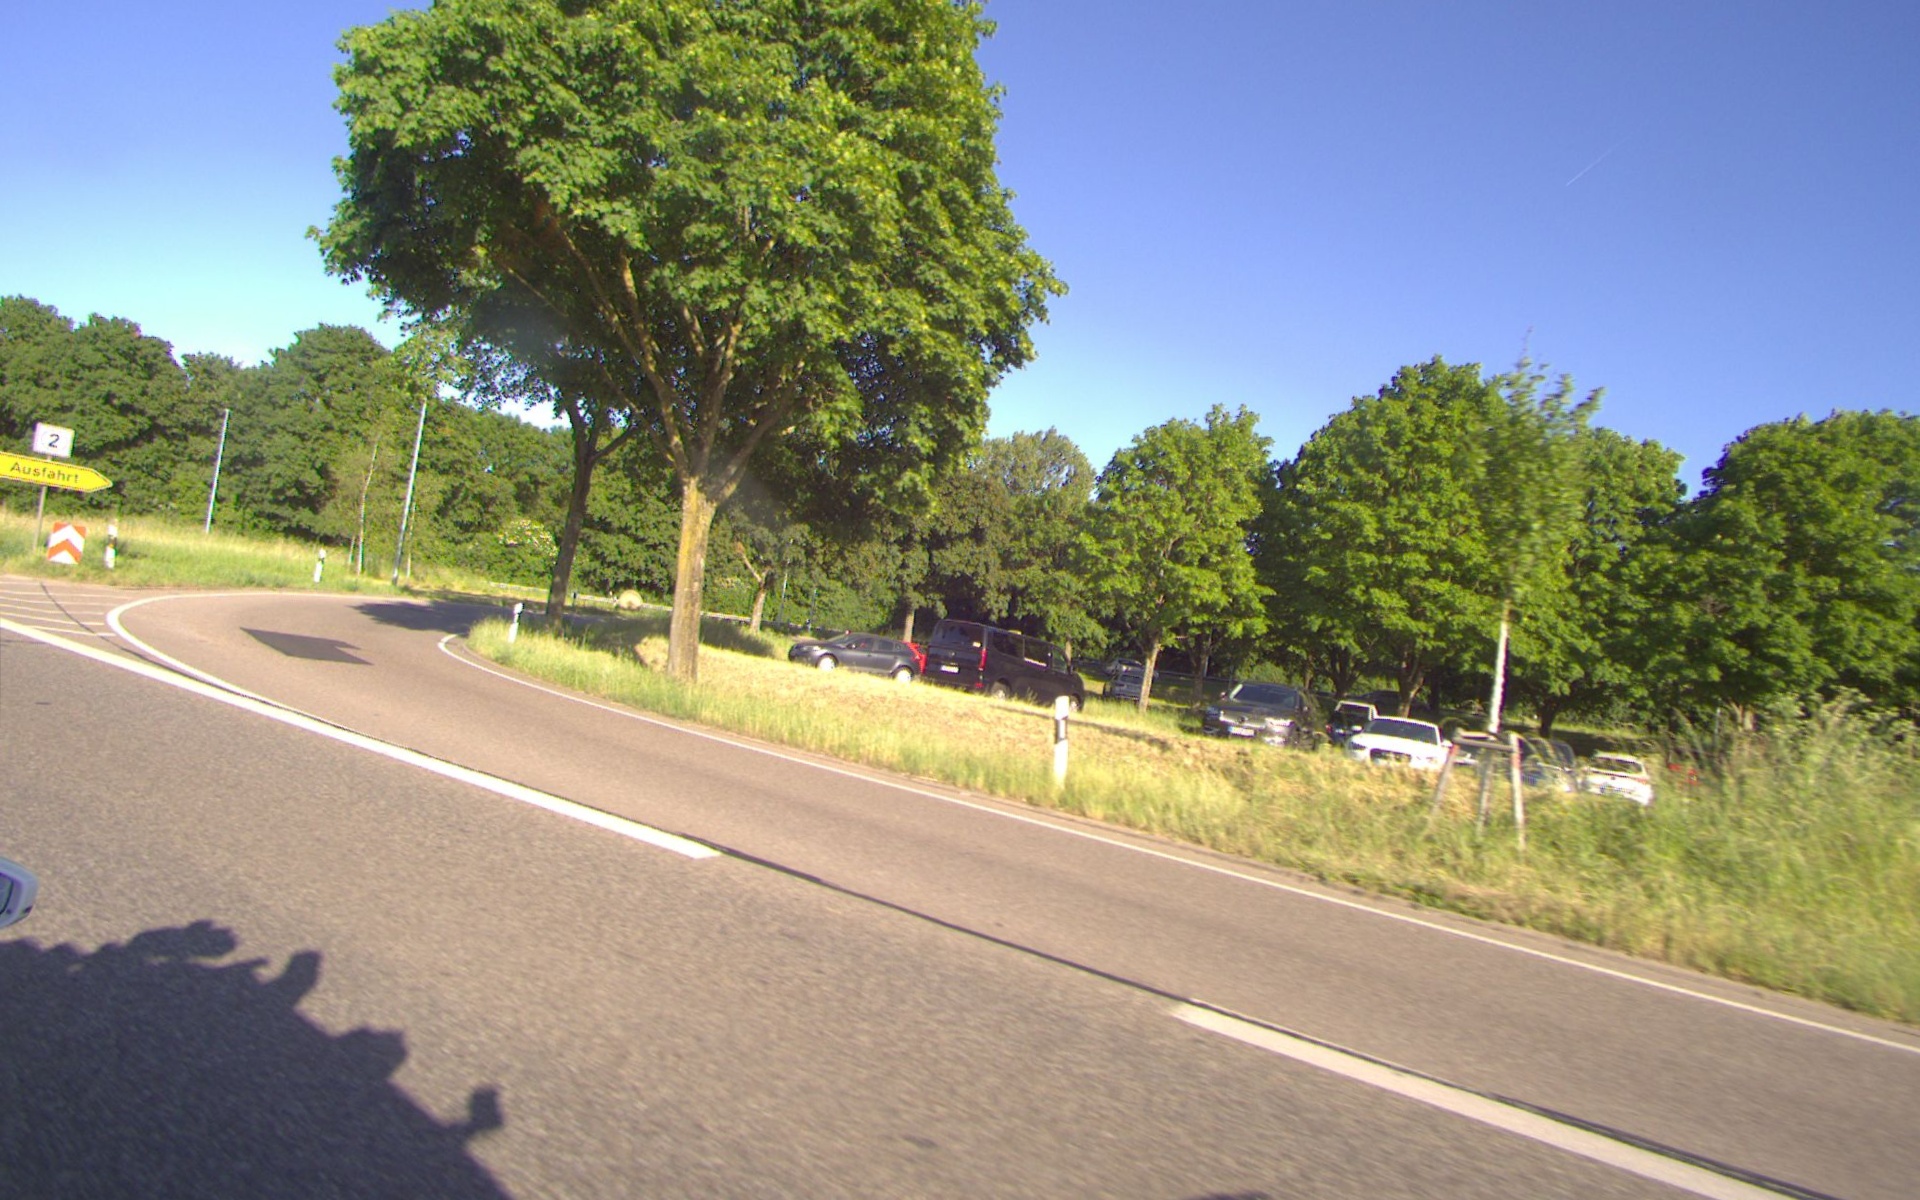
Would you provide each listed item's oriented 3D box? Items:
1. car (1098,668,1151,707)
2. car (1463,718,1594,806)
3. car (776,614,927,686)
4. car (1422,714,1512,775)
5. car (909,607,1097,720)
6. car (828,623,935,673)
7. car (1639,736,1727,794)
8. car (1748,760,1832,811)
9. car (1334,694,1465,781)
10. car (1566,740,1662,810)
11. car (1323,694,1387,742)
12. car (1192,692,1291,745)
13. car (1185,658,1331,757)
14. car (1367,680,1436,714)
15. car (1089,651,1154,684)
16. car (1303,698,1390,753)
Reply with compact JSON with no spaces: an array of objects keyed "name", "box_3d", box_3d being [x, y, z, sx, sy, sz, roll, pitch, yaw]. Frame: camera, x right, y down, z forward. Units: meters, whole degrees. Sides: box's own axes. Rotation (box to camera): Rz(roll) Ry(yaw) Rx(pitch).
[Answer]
[{"name":"car","box_3d":[8.358,4.439,51.554,1.755,1.577,4.230,8,-3,-1]},{"name":"car","box_3d":[11.174,3.178,19.758,1.928,1.229,4.226,6,-5,31]},{"name":"car","box_3d":[-3.371,1.574,31.443,4.184,1.576,1.776,11,-5,-29]},{"name":"car","box_3d":[18.132,5.196,35.859,2.009,1.679,4.651,5,-6,37]},{"name":"car","box_3d":[1.219,1.688,25.616,2.063,2.157,5.041,5,-5,38]},{"name":"car","box_3d":[-3.303,2.039,42.614,4.070,1.479,1.706,7,-2,14]},{"name":"car","box_3d":[29.778,6.752,41.592,1.912,1.797,4.598,5,-2,24]},{"name":"car","box_3d":[32.548,7.247,39.550,1.758,1.576,4.226,6,-4,30]},{"name":"car","box_3d":[9.115,2.856,20.670,1.928,1.323,4.227,6,-5,30]},{"name":"car","box_3d":[17.965,4.805,27.807,1.710,1.526,4.301,6,-5,28]},{"name":"car","box_3d":[18.849,5.563,47.824,1.924,1.887,5.202,6,-2,30]},{"name":"car","box_3d":[9.494,3.952,33.746,1.951,1.426,4.130,6,-2,33]},{"name":"car","box_3d":[6.765,2.471,22.402,2.185,1.695,4.876,6,-5,27]},{"name":"car","box_3d":[29.073,6.401,66.391,3.926,1.595,1.911,8,-1,21]},{"name":"car","box_3d":[11.118,4.633,69.386,3.930,1.595,1.909,9,-1,-5]},{"name":"car","box_3d":[14.704,4.805,38.123,2.006,1.572,4.869,6,-5,33]}]
